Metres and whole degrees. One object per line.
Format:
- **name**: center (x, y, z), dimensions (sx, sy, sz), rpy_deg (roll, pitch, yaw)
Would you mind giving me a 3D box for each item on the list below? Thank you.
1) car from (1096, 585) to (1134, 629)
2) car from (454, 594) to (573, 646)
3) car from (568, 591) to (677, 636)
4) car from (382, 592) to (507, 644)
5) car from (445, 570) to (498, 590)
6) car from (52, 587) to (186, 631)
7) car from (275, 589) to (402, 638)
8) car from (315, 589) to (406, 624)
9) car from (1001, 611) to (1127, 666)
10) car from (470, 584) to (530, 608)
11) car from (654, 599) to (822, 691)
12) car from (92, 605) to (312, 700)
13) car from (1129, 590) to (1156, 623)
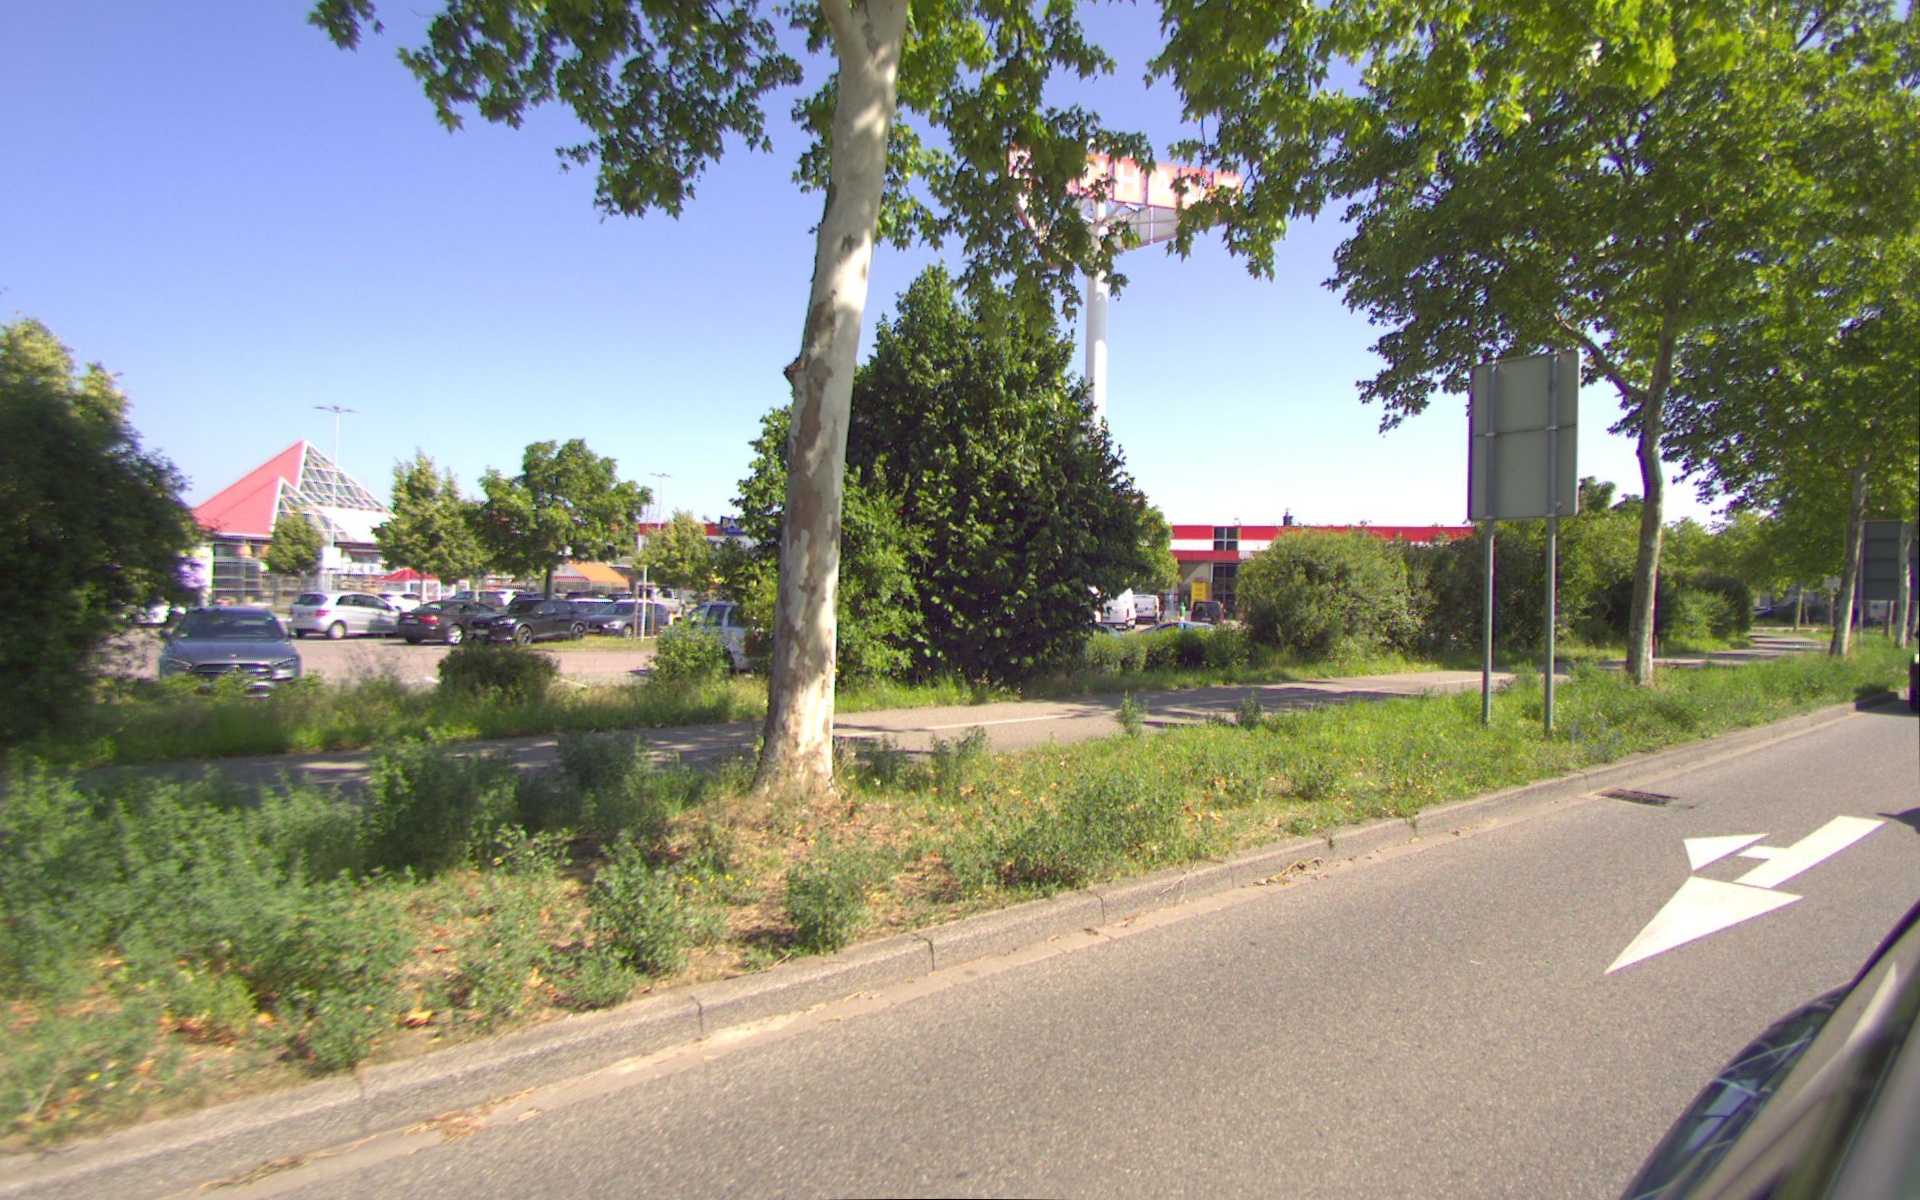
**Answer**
- **car**: center (9.369, 0.411, 60.945), dimensions (1.970, 2.540, 3.983), rpy_deg (0, 0, 13)
- **car**: center (-14.105, 0.614, 32.181), dimensions (1.660, 1.572, 3.500), rpy_deg (0, 0, 15)
- **car**: center (-12.421, 0.496, 37.497), dimensions (1.718, 1.572, 3.970), rpy_deg (-1, 0, 22)
- **car**: center (-16.396, 0.552, 32.345), dimensions (1.660, 1.572, 3.500), rpy_deg (0, 0, 15)
- **car**: center (-43.211, -1.742, 89.634), dimensions (1.977, 1.672, 3.969), rpy_deg (-1, 0, 22)
- **car**: center (-31.081, 0.321, 37.521), dimensions (1.661, 1.572, 3.499), rpy_deg (-1, 0, 17)
- **car**: center (-21.035, 0.457, 34.391), dimensions (1.660, 1.572, 3.500), rpy_deg (0, 0, 15)
- **car**: center (-32.023, 0.346, 54.094), dimensions (3.930, 1.817, 1.997), rpy_deg (0, -1, -41)
- **car**: center (3.205, 1.158, 31.664), dimensions (1.710, 1.605, 3.770), rpy_deg (0, -1, -41)
- **car**: center (-33.367, -0.291, 73.541), dimensions (1.971, 1.672, 3.982), rpy_deg (0, 0, 14)
- **car**: center (-5.101, 0.917, 22.701), dimensions (1.774, 1.839, 4.979), rpy_deg (0, -1, -37)
- **car**: center (-12.252, 0.780, 16.330), dimensions (3.488, 1.367, 1.666), rpy_deg (-1, -1, 31)
- **car**: center (14.038, 0.508, 77.748), dimensions (1.968, 2.437, 3.987), rpy_deg (0, 0, 11)
